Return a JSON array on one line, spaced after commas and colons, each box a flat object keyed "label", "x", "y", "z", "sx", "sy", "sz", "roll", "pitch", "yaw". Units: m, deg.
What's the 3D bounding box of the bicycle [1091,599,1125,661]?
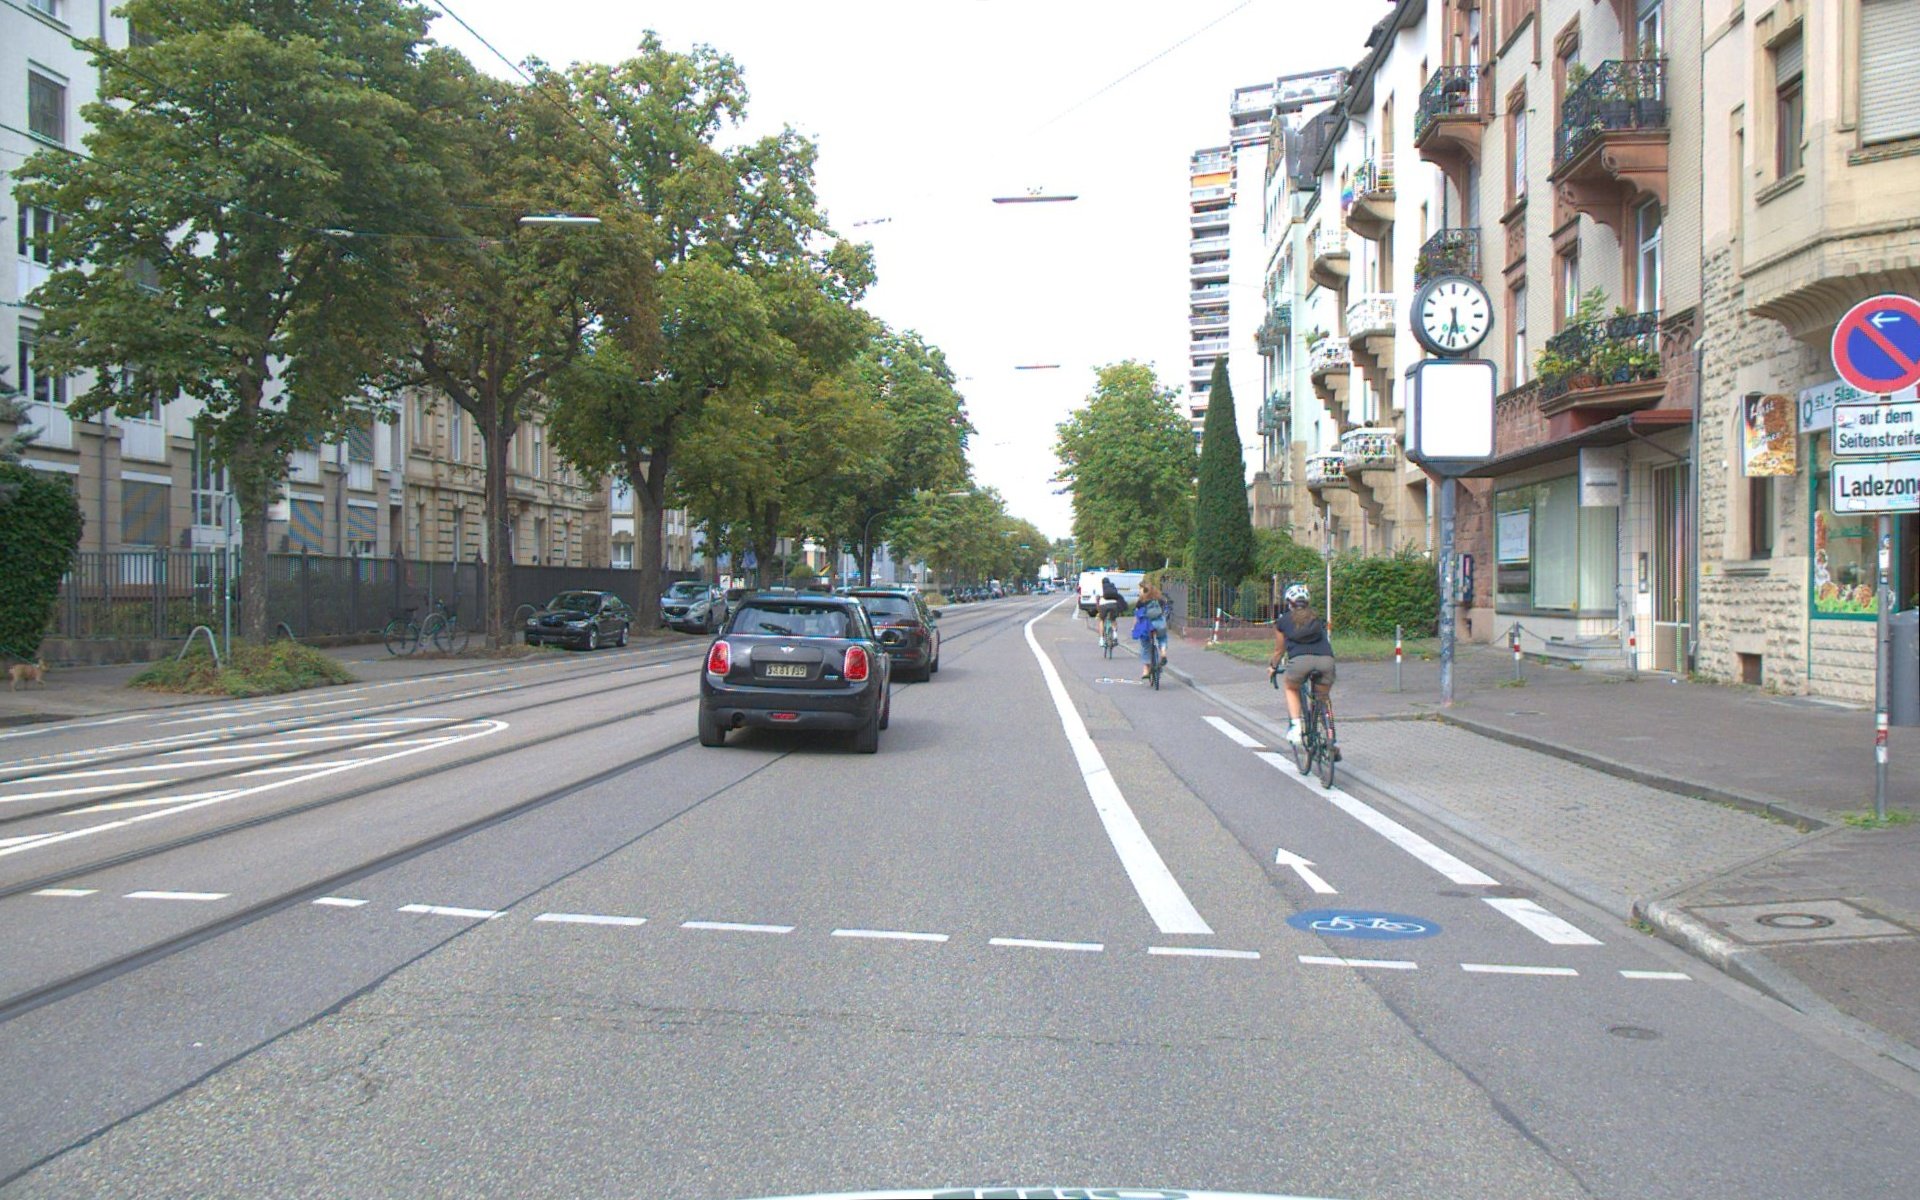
[{"label": "bicycle", "x": 3.193, "y": 0.626, "z": 35.763, "sx": 0.643, "sy": 1.270, "sz": 2.126, "roll": 1, "pitch": 1, "yaw": 3}]

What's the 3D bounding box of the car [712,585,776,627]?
[{"label": "car", "x": -8.042, "y": 0.195, "z": 61.784, "sx": 1.567, "sy": 1.493, "sz": 4.081, "roll": 1, "pitch": 1, "yaw": 4}]

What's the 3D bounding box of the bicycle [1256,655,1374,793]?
[{"label": "bicycle", "x": 3.021, "y": 1.026, "z": 14.242, "sx": 0.625, "sy": 0.998, "sz": 2.072, "roll": 1, "pitch": 1, "yaw": 2}]

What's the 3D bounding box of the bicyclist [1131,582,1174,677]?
[{"label": "bicyclist", "x": 3.101, "y": 0.464, "z": 26.733, "sx": 0.634, "sy": 1.495, "sz": 0.801, "roll": 1, "pitch": 1, "yaw": 4}]

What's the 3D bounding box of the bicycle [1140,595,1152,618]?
[{"label": "bicycle", "x": 7.699, "y": 0.253, "z": 68.449, "sx": 0.378, "sy": 0.923, "sz": 1.666, "roll": -1, "pitch": 0, "yaw": 9}]

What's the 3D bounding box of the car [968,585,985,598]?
[{"label": "car", "x": 1.965, "y": -1.009, "z": 196.040, "sx": 1.764, "sy": 1.611, "sz": 4.033, "roll": -1, "pitch": 0, "yaw": 4}]

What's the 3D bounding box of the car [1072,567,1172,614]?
[{"label": "car", "x": 8.351, "y": -0.488, "z": 85.073, "sx": 4.910, "sy": 2.330, "sz": 2.352, "roll": 1, "pitch": 0, "yaw": -39}]

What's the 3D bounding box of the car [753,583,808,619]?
[{"label": "car", "x": -7.825, "y": 0.018, "z": 72.388, "sx": 1.685, "sy": 1.448, "sz": 4.025, "roll": 2, "pitch": 1, "yaw": 3}]

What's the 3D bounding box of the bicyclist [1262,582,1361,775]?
[{"label": "bicyclist", "x": 3.028, "y": 0.648, "z": 14.335, "sx": 0.625, "sy": 1.597, "sz": 1.111, "roll": 1, "pitch": 0, "yaw": 2}]

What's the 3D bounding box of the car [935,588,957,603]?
[{"label": "car", "x": -1.321, "y": -0.463, "z": 156.155, "sx": 1.764, "sy": 1.398, "sz": 4.033, "roll": -1, "pitch": 0, "yaw": 4}]

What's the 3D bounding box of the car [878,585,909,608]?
[{"label": "car", "x": -4.416, "y": -0.252, "z": 110.775, "sx": 1.657, "sy": 1.452, "sz": 3.870, "roll": 1, "pitch": 0, "yaw": 4}]

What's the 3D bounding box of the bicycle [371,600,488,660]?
[{"label": "bicycle", "x": -11.053, "y": 0.625, "z": 34.506, "sx": 2.204, "sy": 1.195, "sz": 0.827, "roll": 1, "pitch": 1, "yaw": -29}]

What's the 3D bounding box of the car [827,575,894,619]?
[{"label": "car", "x": -3.438, "y": -0.128, "z": 57.949, "sx": 1.537, "sy": 1.441, "sz": 4.003, "roll": -2, "pitch": 1, "yaw": 8}]

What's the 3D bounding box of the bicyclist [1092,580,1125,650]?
[{"label": "bicyclist", "x": 3.203, "y": 0.313, "z": 35.744, "sx": 0.643, "sy": 1.489, "sz": 1.179, "roll": 1, "pitch": 0, "yaw": 3}]

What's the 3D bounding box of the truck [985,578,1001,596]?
[{"label": "truck", "x": 4.599, "y": -1.784, "z": 229.583, "sx": 2.027, "sy": 2.513, "sz": 4.901, "roll": -1, "pitch": 0, "yaw": 4}]

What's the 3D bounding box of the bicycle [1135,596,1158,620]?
[{"label": "bicycle", "x": 7.214, "y": 0.298, "z": 64.039, "sx": 0.476, "sy": 0.923, "sz": 1.662, "roll": -1, "pitch": 0, "yaw": -7}]

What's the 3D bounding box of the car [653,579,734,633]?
[{"label": "car", "x": -8.704, "y": 0.170, "z": 54.359, "sx": 1.674, "sy": 1.703, "sz": 4.359, "roll": 1, "pitch": 1, "yaw": 4}]

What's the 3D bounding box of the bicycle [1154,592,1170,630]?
[{"label": "bicycle", "x": 6.292, "y": 0.336, "z": 51.625, "sx": 0.383, "sy": 1.122, "sz": 1.760, "roll": -1, "pitch": 1, "yaw": 4}]

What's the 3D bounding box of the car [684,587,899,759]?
[{"label": "car", "x": -1.558, "y": 0.630, "z": 16.595, "sx": 1.757, "sy": 1.447, "sz": 3.999, "roll": 2, "pitch": 1, "yaw": -1}]

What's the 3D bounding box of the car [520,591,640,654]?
[{"label": "car", "x": -9.662, "y": 0.525, "z": 42.331, "sx": 1.684, "sy": 1.449, "sz": 4.169, "roll": 3, "pitch": 1, "yaw": 6}]

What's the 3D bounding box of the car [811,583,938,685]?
[{"label": "car", "x": -1.330, "y": 0.502, "z": 27.172, "sx": 1.756, "sy": 1.495, "sz": 4.001, "roll": 2, "pitch": 1, "yaw": 1}]

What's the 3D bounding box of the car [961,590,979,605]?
[{"label": "car", "x": 1.090, "y": -0.257, "z": 186.073, "sx": 1.764, "sy": 1.611, "sz": 4.033, "roll": -1, "pitch": 0, "yaw": 4}]

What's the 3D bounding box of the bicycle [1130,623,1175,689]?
[{"label": "bicycle", "x": 3.147, "y": 0.901, "z": 27.139, "sx": 0.674, "sy": 0.979, "sz": 2.038, "roll": 0, "pitch": 1, "yaw": 5}]

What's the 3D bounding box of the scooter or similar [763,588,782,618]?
[{"label": "scooter or similar", "x": -7.882, "y": 0.132, "z": 69.522, "sx": 0.552, "sy": 1.244, "sz": 1.316, "roll": 0, "pitch": 0, "yaw": -19}]

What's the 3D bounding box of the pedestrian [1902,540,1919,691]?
[{"label": "pedestrian", "x": 10.532, "y": 0.165, "z": 17.758, "sx": 0.538, "sy": 1.608, "sz": 0.561, "roll": 0, "pitch": 0, "yaw": 4}]

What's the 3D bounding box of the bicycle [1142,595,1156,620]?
[{"label": "bicycle", "x": 7.113, "y": 0.272, "z": 62.128, "sx": 0.475, "sy": 0.923, "sz": 1.666, "roll": -1, "pitch": 0, "yaw": 7}]

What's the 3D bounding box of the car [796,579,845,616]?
[{"label": "car", "x": -6.797, "y": -0.124, "z": 81.077, "sx": 1.685, "sy": 1.684, "sz": 4.544, "roll": 2, "pitch": 1, "yaw": 3}]

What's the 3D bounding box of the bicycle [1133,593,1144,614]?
[{"label": "bicycle", "x": 8.271, "y": 0.160, "z": 76.693, "sx": 0.378, "sy": 0.923, "sz": 1.842, "roll": -1, "pitch": 0, "yaw": 3}]
